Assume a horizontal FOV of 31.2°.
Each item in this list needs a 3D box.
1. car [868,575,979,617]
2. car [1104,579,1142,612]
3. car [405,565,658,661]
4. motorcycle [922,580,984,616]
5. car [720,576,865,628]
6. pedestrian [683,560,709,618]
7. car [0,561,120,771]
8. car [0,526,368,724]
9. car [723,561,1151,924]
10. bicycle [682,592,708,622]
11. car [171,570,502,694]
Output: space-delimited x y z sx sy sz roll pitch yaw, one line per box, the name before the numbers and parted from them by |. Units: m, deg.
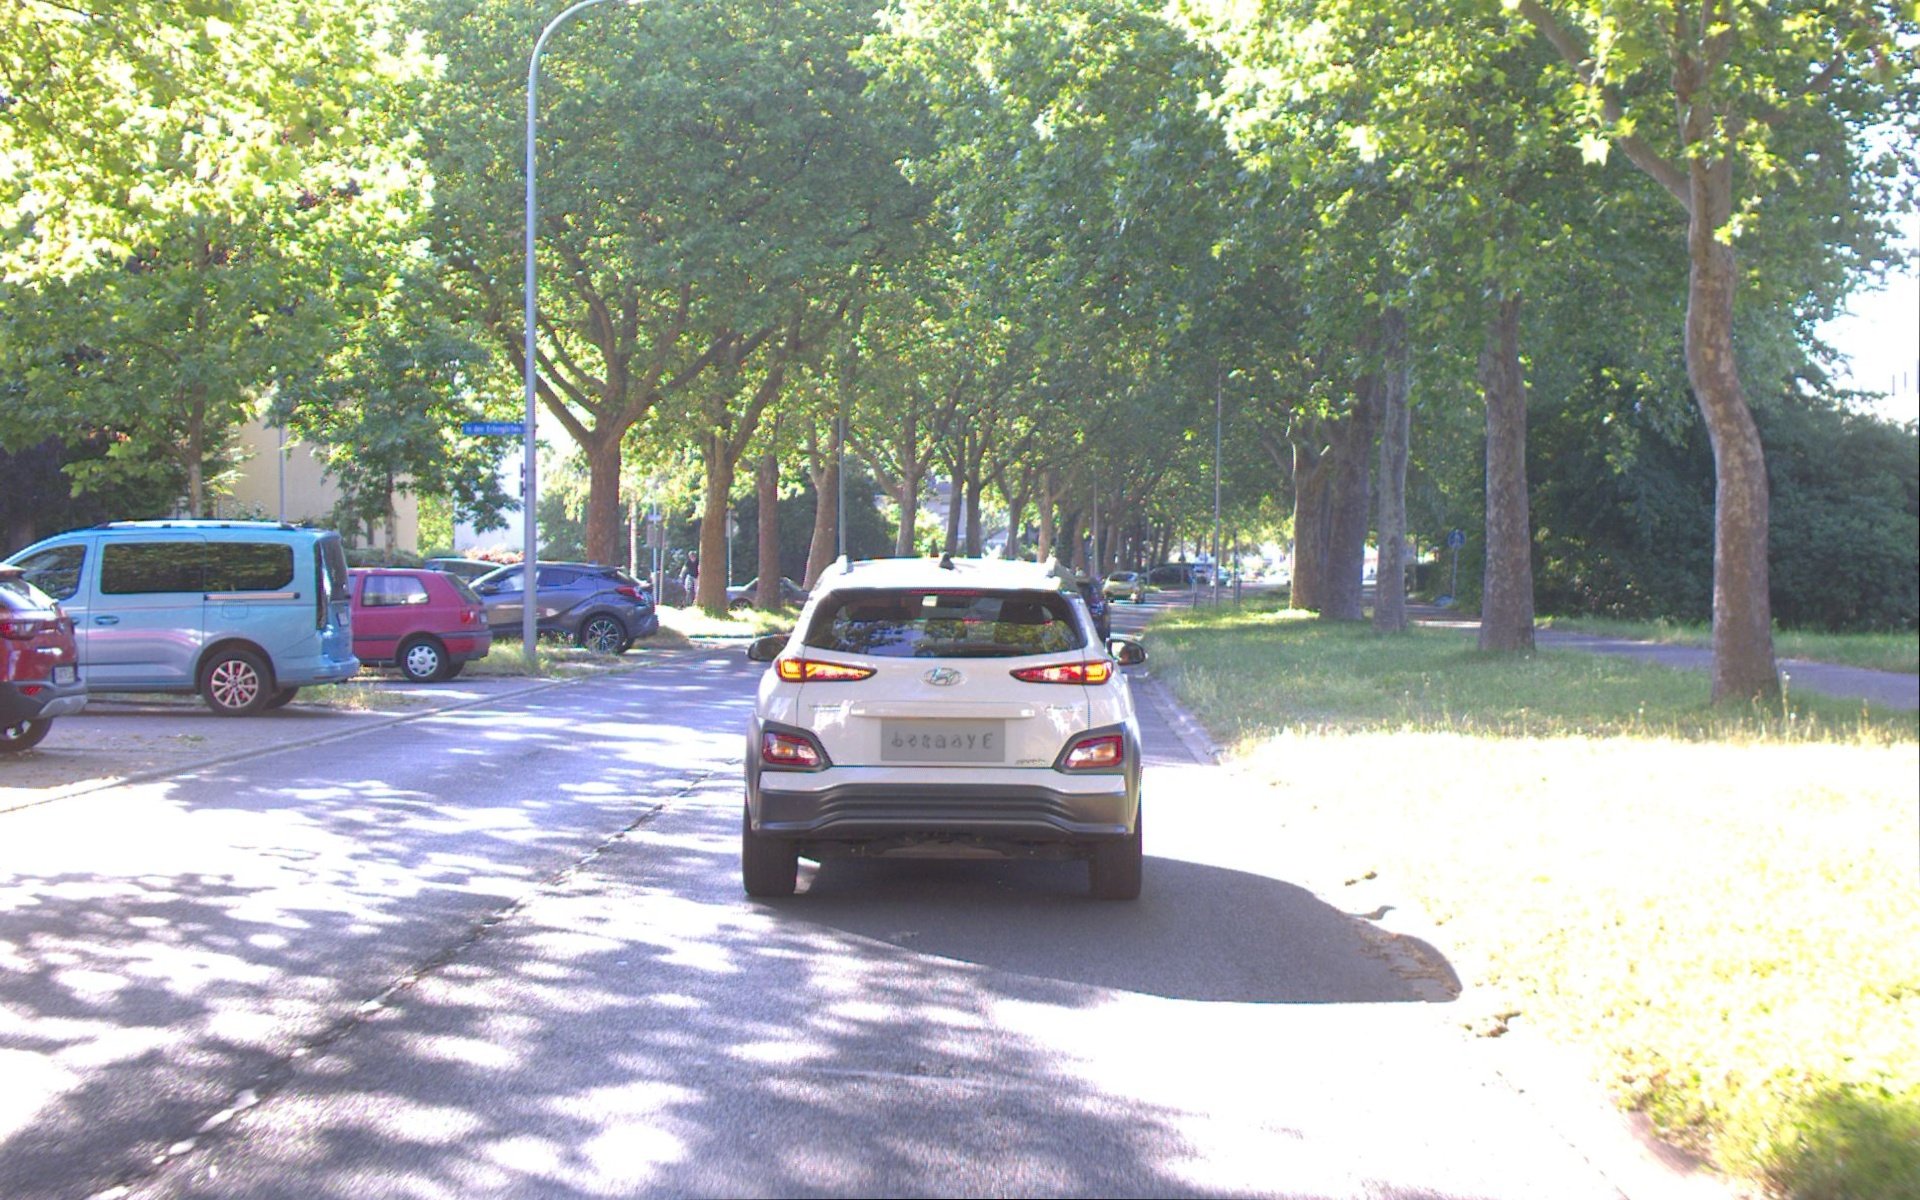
car | -1.414 -0.167 132.916 4.183 1.579 2.000 1 0 2
car | 7.403 -0.216 156.466 1.689 1.460 3.694 1 0 3
car | -7.100 0.200 57.205 3.988 1.513 1.817 1 1 -1
motorcycle | -0.265 -0.080 135.298 2.385 1.383 0.648 1 1 1
car | -4.639 0.040 95.658 3.826 1.312 1.790 2 0 4
pedestrian | -7.808 -0.336 101.807 0.617 1.710 1.065 0 0 3
car | -8.363 0.453 25.835 3.642 1.511 1.782 1 1 1
car | -8.102 0.218 33.333 4.385 1.818 1.996 1 0 -1
car | -0.167 0.617 16.917 1.835 1.550 4.000 1 0 -2
bicycle | -7.832 0.207 101.742 0.470 0.877 2.155 0 0 3
car | -7.802 0.387 43.239 3.871 1.513 1.665 0 1 -1
